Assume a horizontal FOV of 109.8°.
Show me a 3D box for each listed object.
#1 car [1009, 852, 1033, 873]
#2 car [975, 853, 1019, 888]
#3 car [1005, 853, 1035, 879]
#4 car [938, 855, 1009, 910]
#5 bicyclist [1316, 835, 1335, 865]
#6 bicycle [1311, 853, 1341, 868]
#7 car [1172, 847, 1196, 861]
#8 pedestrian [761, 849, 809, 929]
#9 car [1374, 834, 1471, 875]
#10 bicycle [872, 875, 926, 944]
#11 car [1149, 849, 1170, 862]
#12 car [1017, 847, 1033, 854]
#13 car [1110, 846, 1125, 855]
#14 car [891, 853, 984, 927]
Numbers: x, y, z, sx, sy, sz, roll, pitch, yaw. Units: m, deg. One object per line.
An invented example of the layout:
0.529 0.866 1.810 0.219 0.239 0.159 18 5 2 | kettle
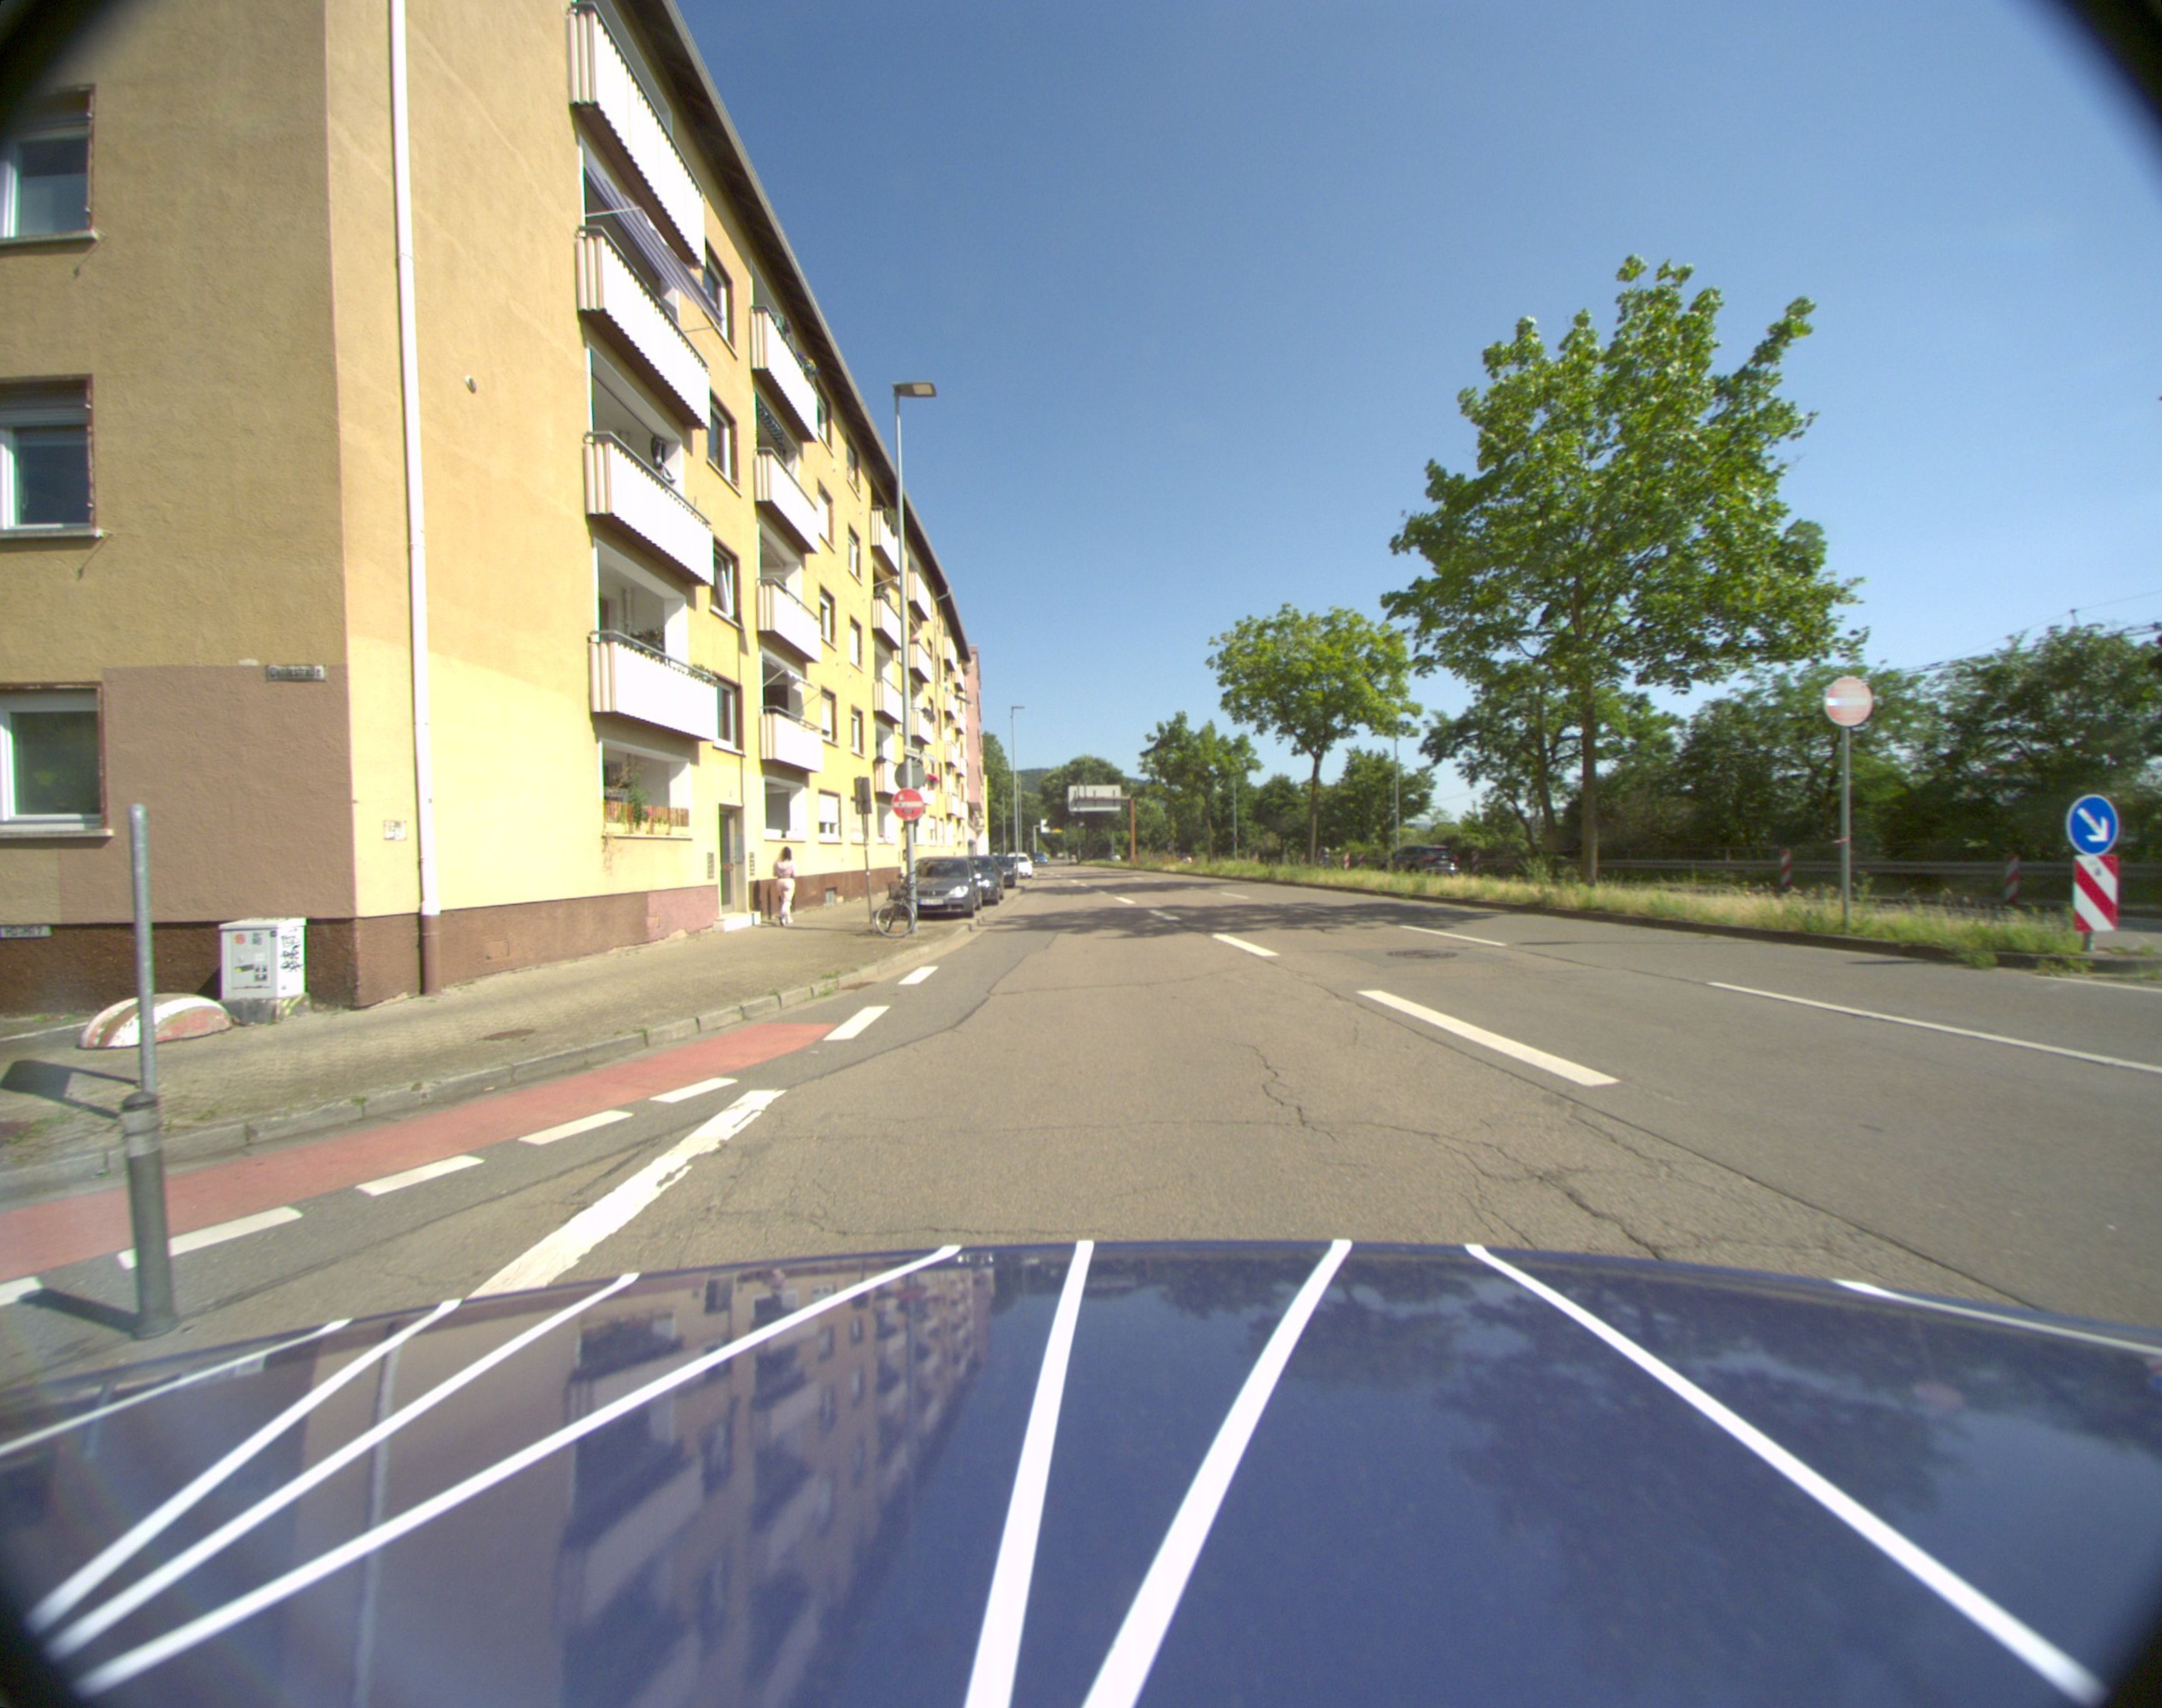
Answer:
-4.568 0.616 58.009 1.741 1.532 4.351 0 1 -4 | car
-3.737 0.676 34.417 1.805 1.430 4.588 -1 0 -4 | car
-3.787 0.718 47.318 1.761 1.497 4.126 0 0 -4 | car
-3.173 0.801 23.120 1.715 1.453 4.254 -1 0 -3 | car
15.132 -0.229 46.973 0.699 1.821 1.016 -1 1 -12 | bicyclist
15.148 0.377 47.062 0.695 0.900 2.339 -1 1 -12 | bicycle
10.905 -0.036 80.714 1.768 1.466 4.083 -1 1 -3 | car
-6.100 0.707 15.699 0.657 1.600 0.824 1 1 1 | pedestrian
15.374 -0.003 34.553 1.999 1.724 4.727 -1 1 -4 | car
-3.296 0.967 13.870 0.704 1.117 1.744 -1 1 -6 | bicycle
9.573 0.181 93.044 1.803 1.521 3.997 -1 1 -6 | car
-13.488 -0.911 182.522 2.003 1.519 4.687 0 1 -27 | car
5.845 -0.597 122.538 1.650 1.408 3.967 -1 1 -7 | car
-3.343 0.775 18.378 1.708 1.505 4.089 -1 1 -4 | car
